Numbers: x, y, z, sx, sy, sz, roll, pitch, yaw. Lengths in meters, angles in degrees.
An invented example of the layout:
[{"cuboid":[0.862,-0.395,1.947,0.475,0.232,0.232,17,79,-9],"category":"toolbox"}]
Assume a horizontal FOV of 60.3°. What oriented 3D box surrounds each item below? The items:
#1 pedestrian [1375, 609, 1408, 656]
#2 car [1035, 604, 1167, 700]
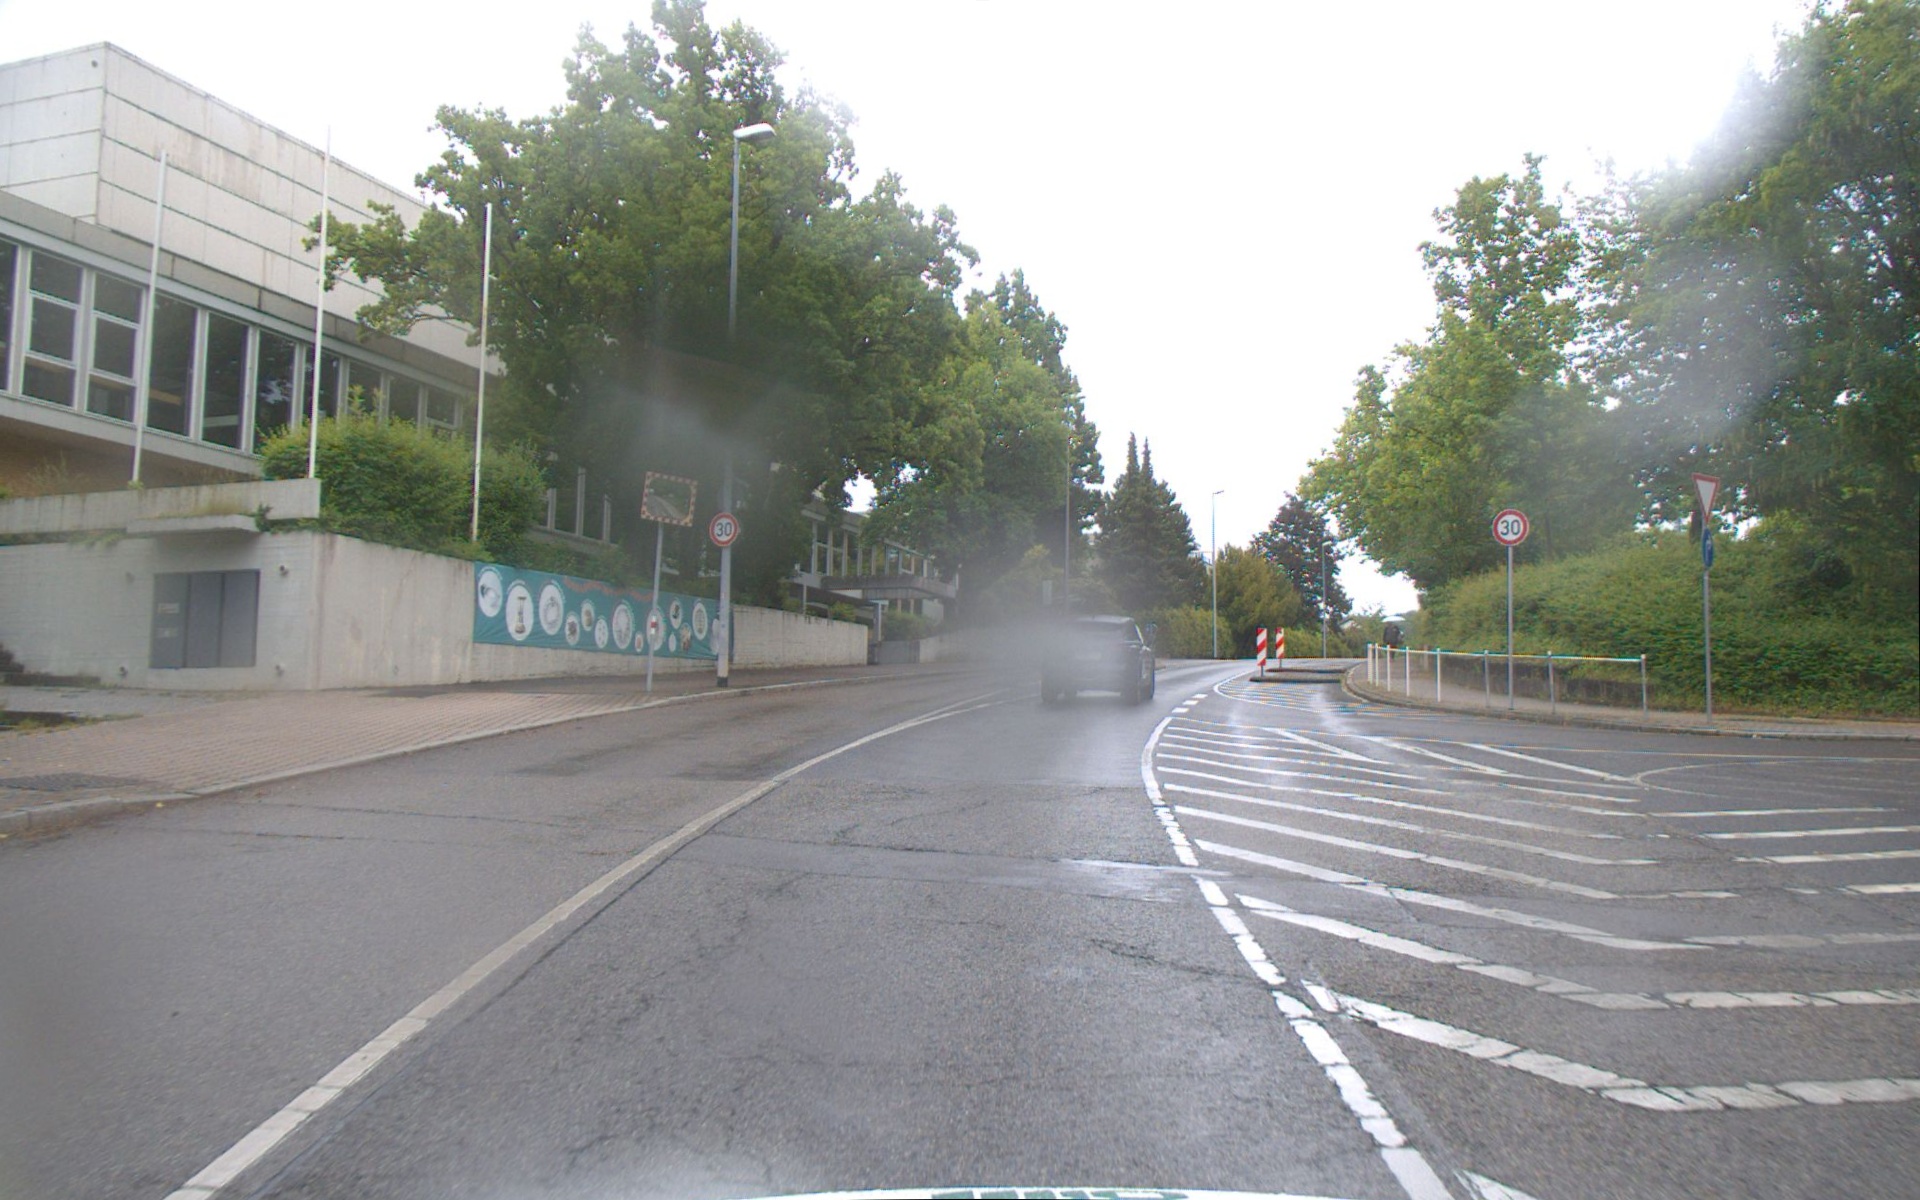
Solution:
[{"cuboid":[16.529,1.242,63.416,1.061,1.752,1.167,-3,-2,11],"category":"pedestrian"},{"cuboid":[2.755,0.943,31.506,1.887,1.641,4.003,2,0,14],"category":"car"}]
